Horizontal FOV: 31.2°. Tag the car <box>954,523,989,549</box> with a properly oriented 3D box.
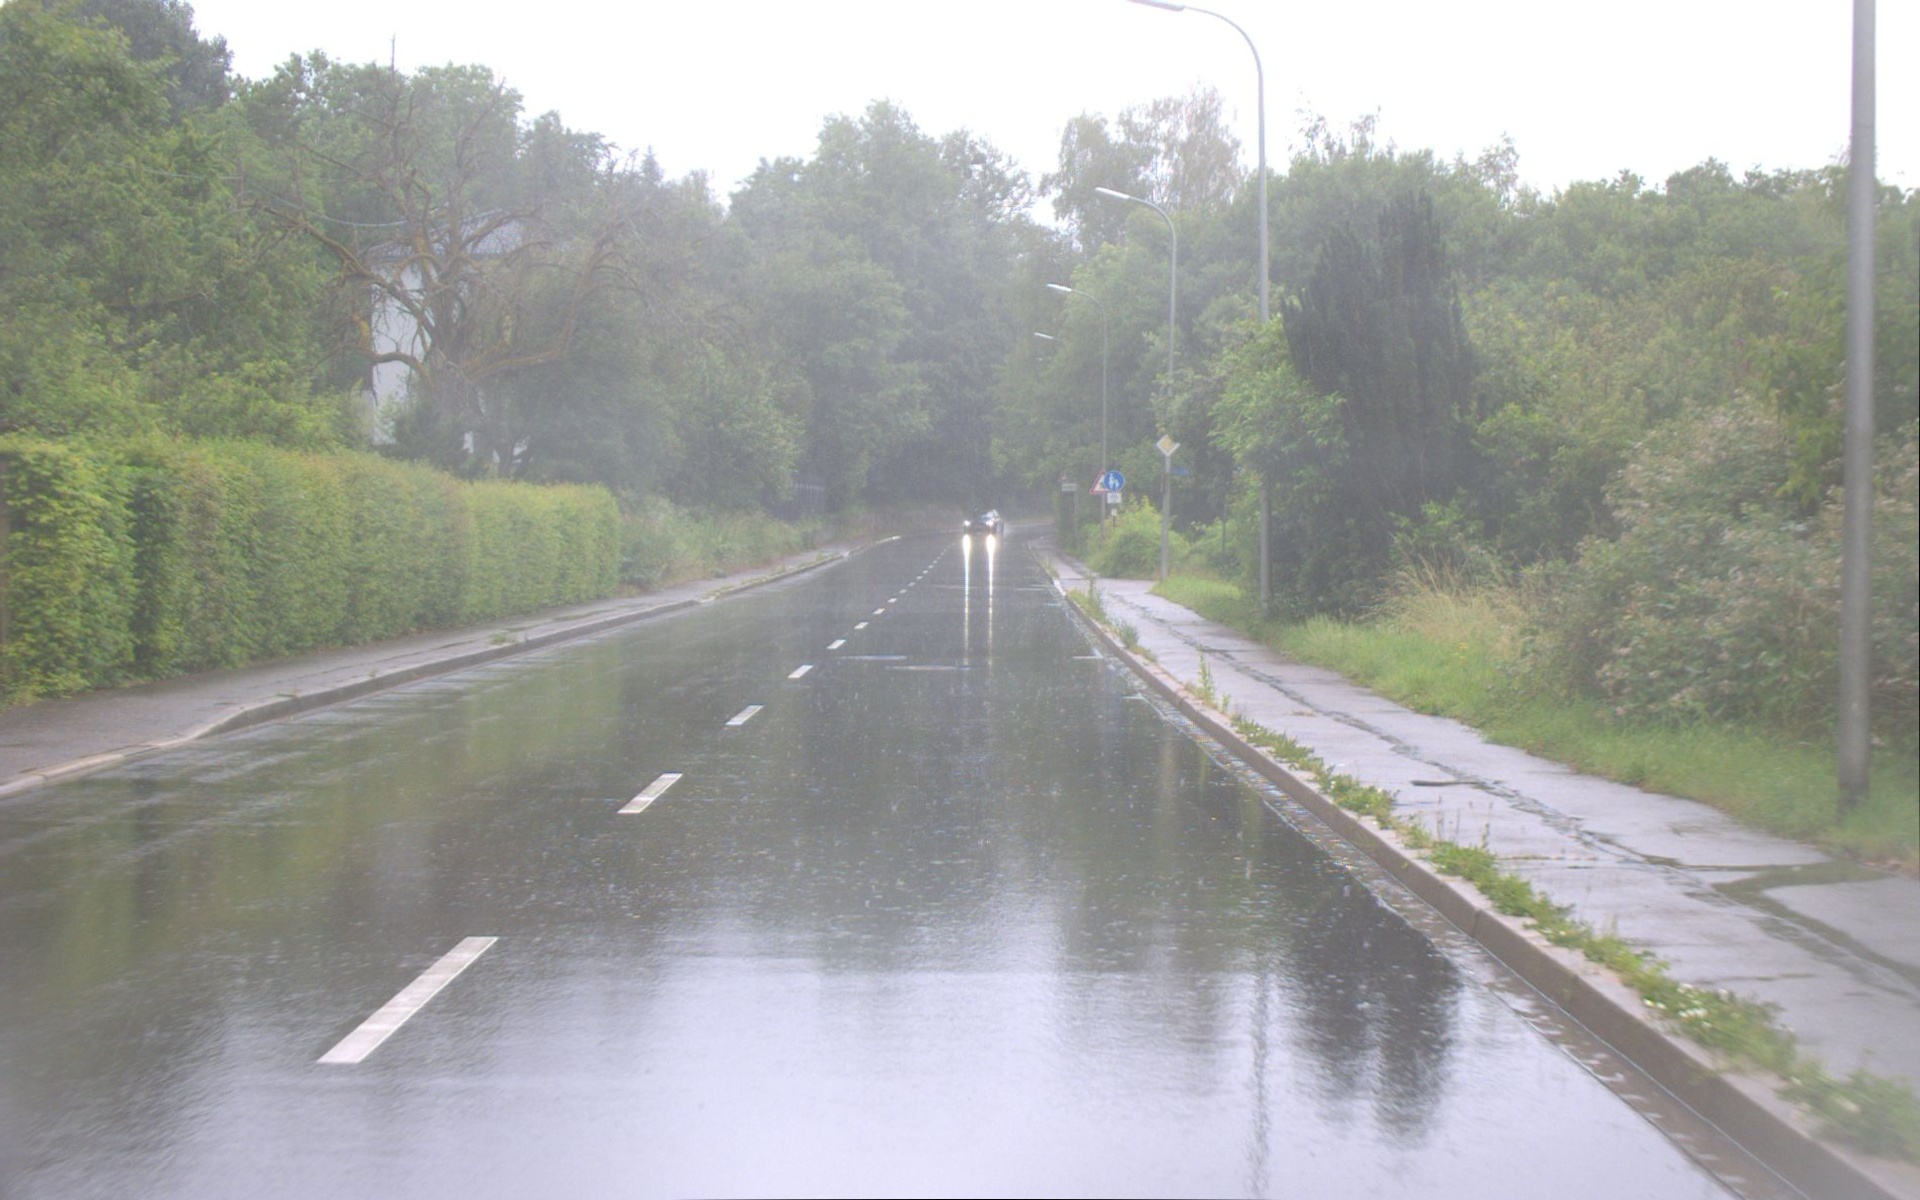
[{"bbox_3d":[0.686,-3.787,203.207,1.993,1.449,4.428,1,2,1],"label":"car"}]
